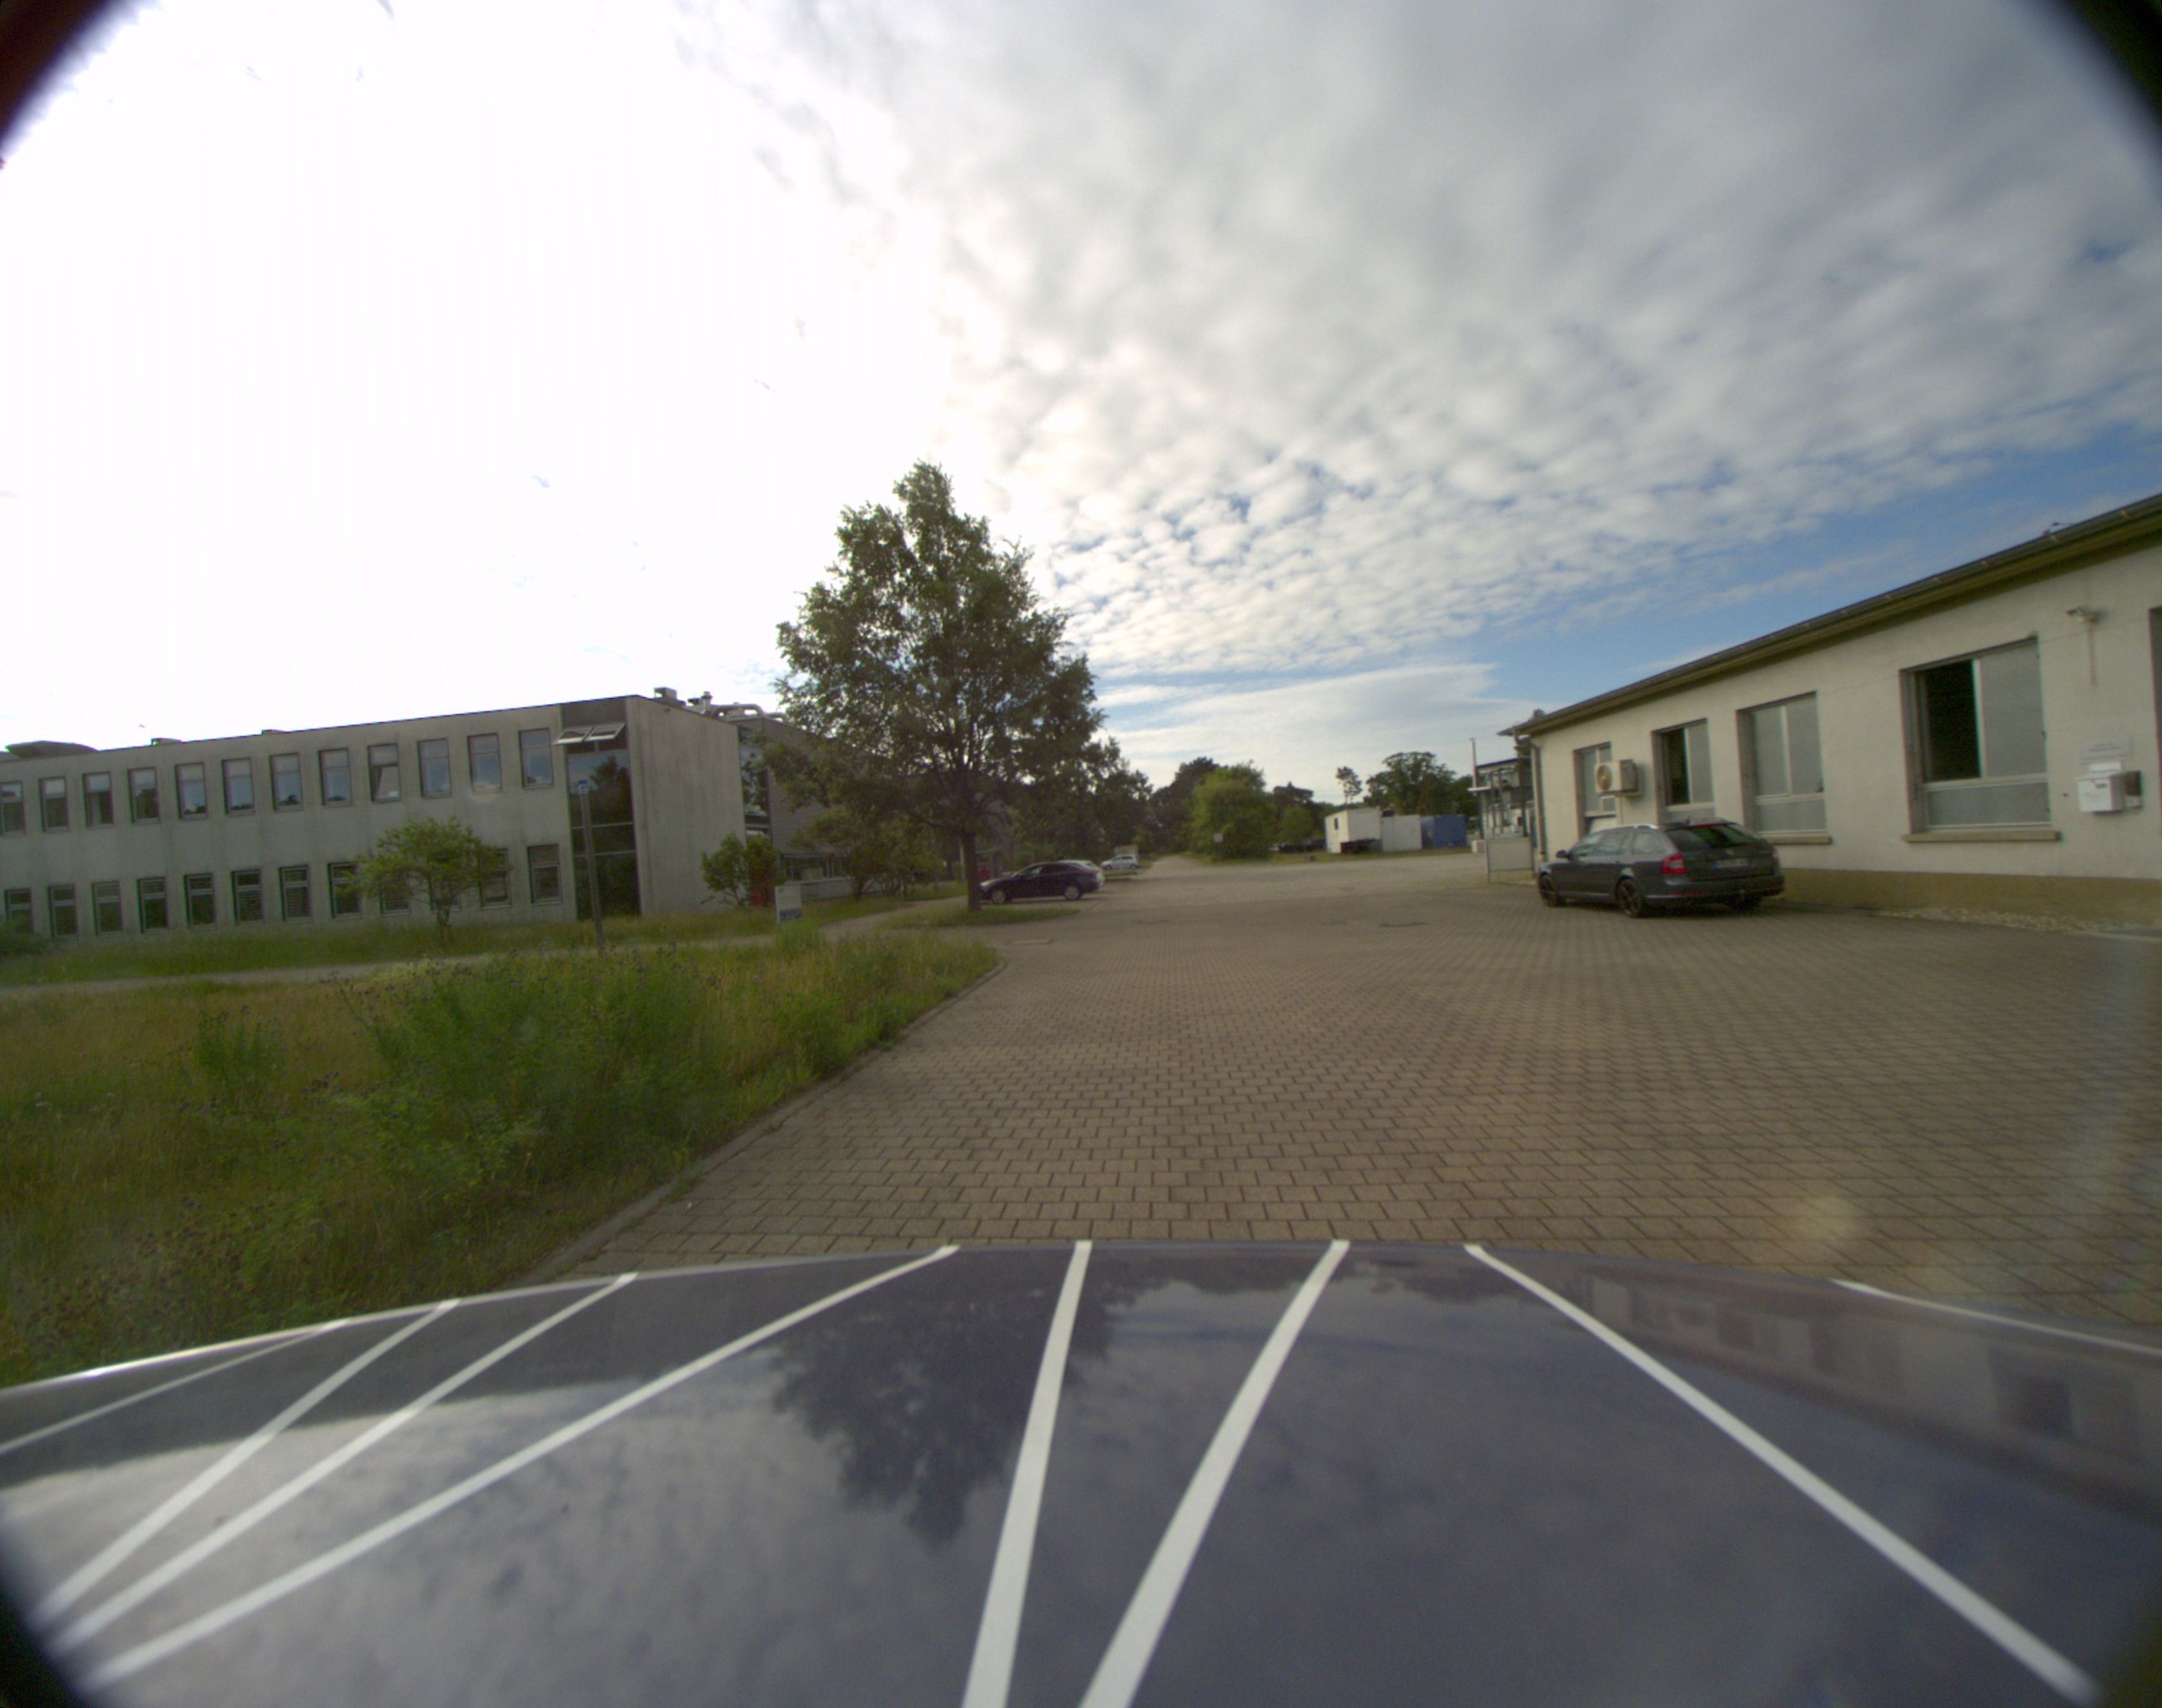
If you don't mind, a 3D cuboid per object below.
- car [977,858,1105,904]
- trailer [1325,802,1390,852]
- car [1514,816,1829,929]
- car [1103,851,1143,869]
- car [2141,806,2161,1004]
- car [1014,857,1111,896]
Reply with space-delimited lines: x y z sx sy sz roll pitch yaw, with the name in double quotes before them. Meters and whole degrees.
"car" -1.446 1.013 28.604 4.473 1.438 1.945 -3 0 6
"trailer" 22.907 -2.099 63.676 2.874 3.640 10.784 -4 0 9
"car" 9.587 0.250 12.996 1.929 1.452 4.813 -4 0 6
"car" 4.412 0.614 79.730 4.130 1.615 1.939 -2 1 4
"car" 8.433 0.306 3.237 1.928 1.430 4.370 -6 0 8
"car" -0.780 0.975 33.797 3.984 1.458 1.883 -4 0 6
